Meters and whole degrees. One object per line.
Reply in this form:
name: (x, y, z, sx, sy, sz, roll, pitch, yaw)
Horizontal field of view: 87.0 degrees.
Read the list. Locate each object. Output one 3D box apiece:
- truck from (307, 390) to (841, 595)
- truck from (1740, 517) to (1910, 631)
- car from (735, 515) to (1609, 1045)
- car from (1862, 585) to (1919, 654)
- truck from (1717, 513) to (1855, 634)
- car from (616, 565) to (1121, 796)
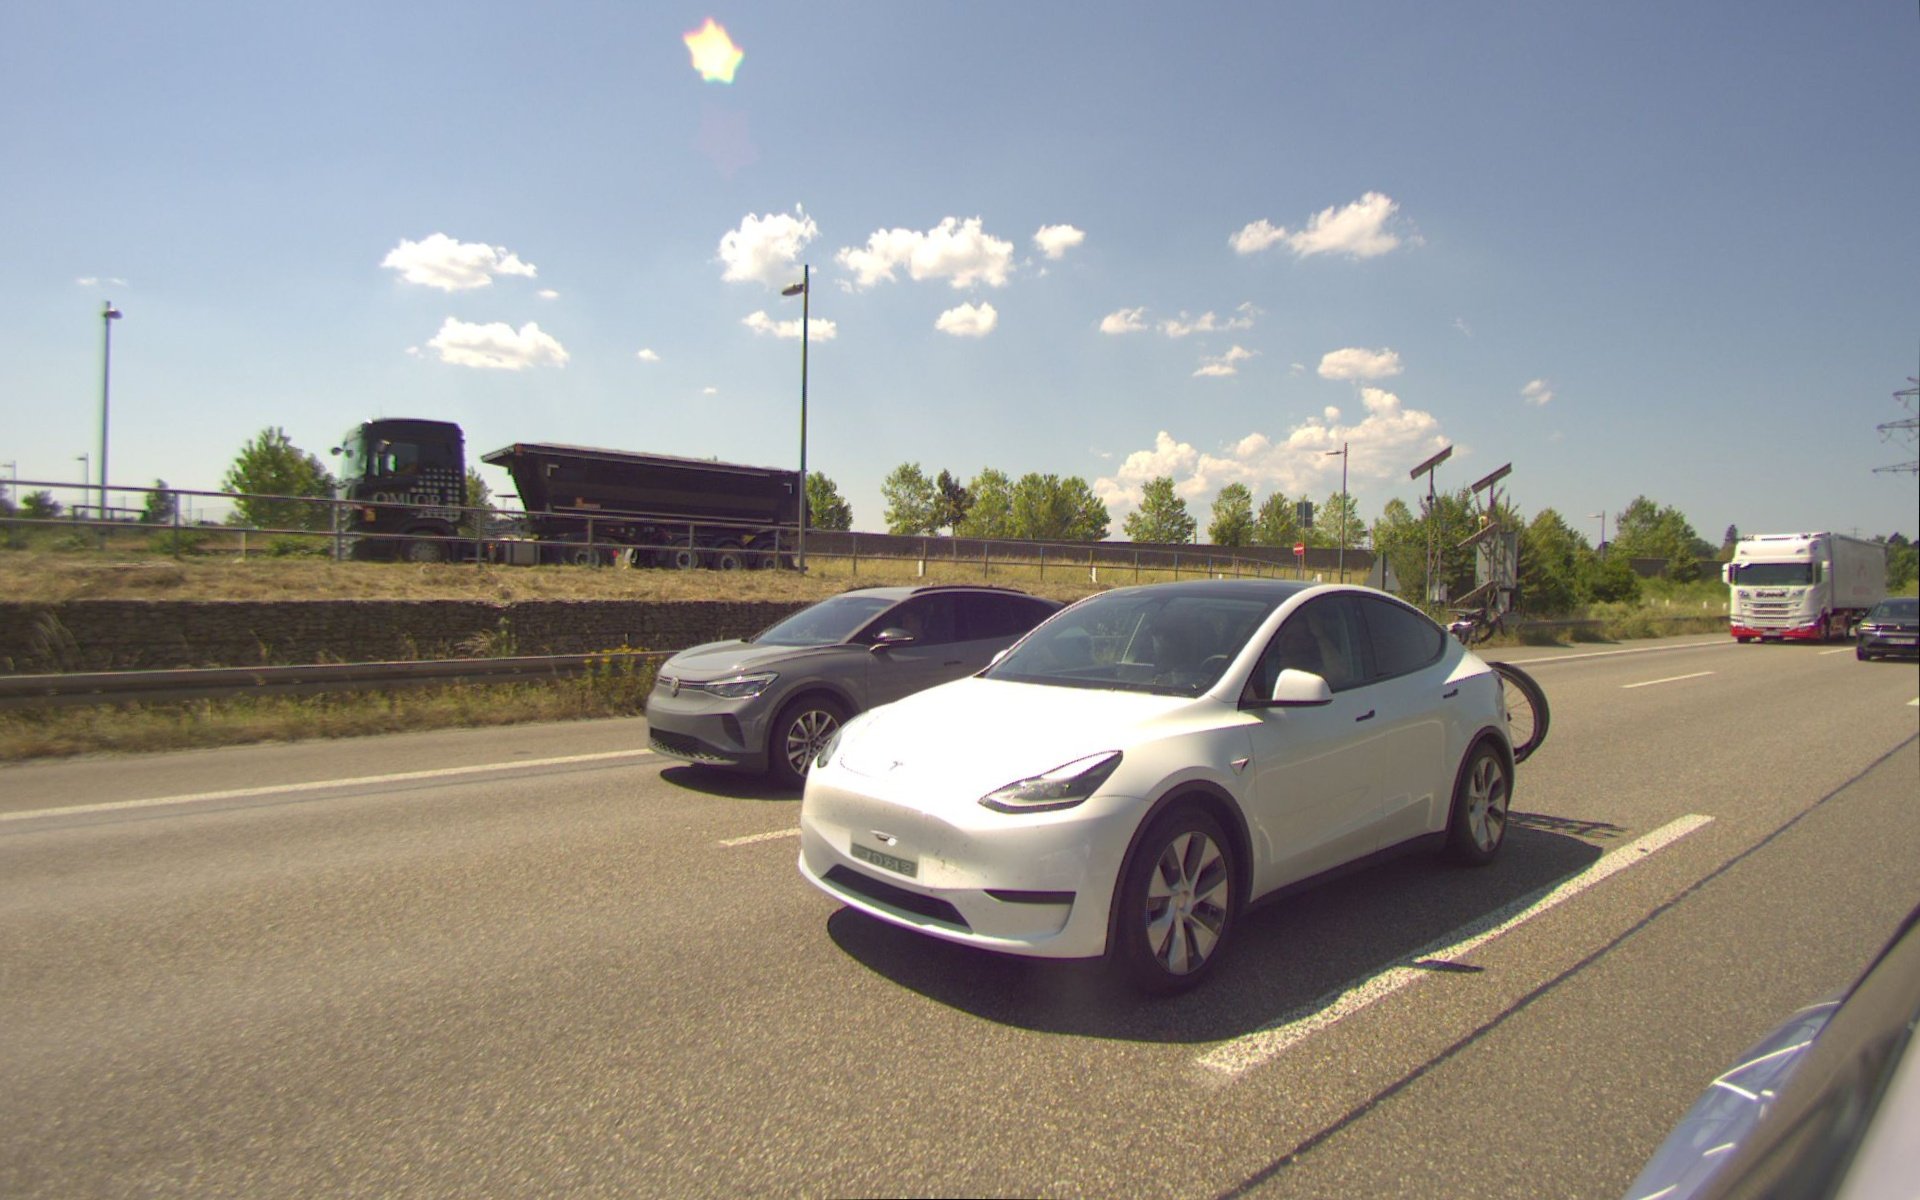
truck: (-9.199, -2.246, 25.963, 12.303, 4.135, 3.794, -1, 0, -42)
truck: (34.527, -0.932, 40.127, 12.280, 3.957, 3.075, 0, 0, -40)
car: (1.666, 0.538, 5.732, 5.503, 1.657, 1.953, -1, 0, -41)
car: (24.406, 0.449, 25.451, 3.974, 1.667, 1.954, -1, 0, -39)
truck: (29.045, -0.888, 35.583, 3.778, 3.957, 3.075, 0, 0, -39)
car: (-0.667, 0.556, 9.495, 4.506, 1.657, 1.871, -1, 0, -41)
